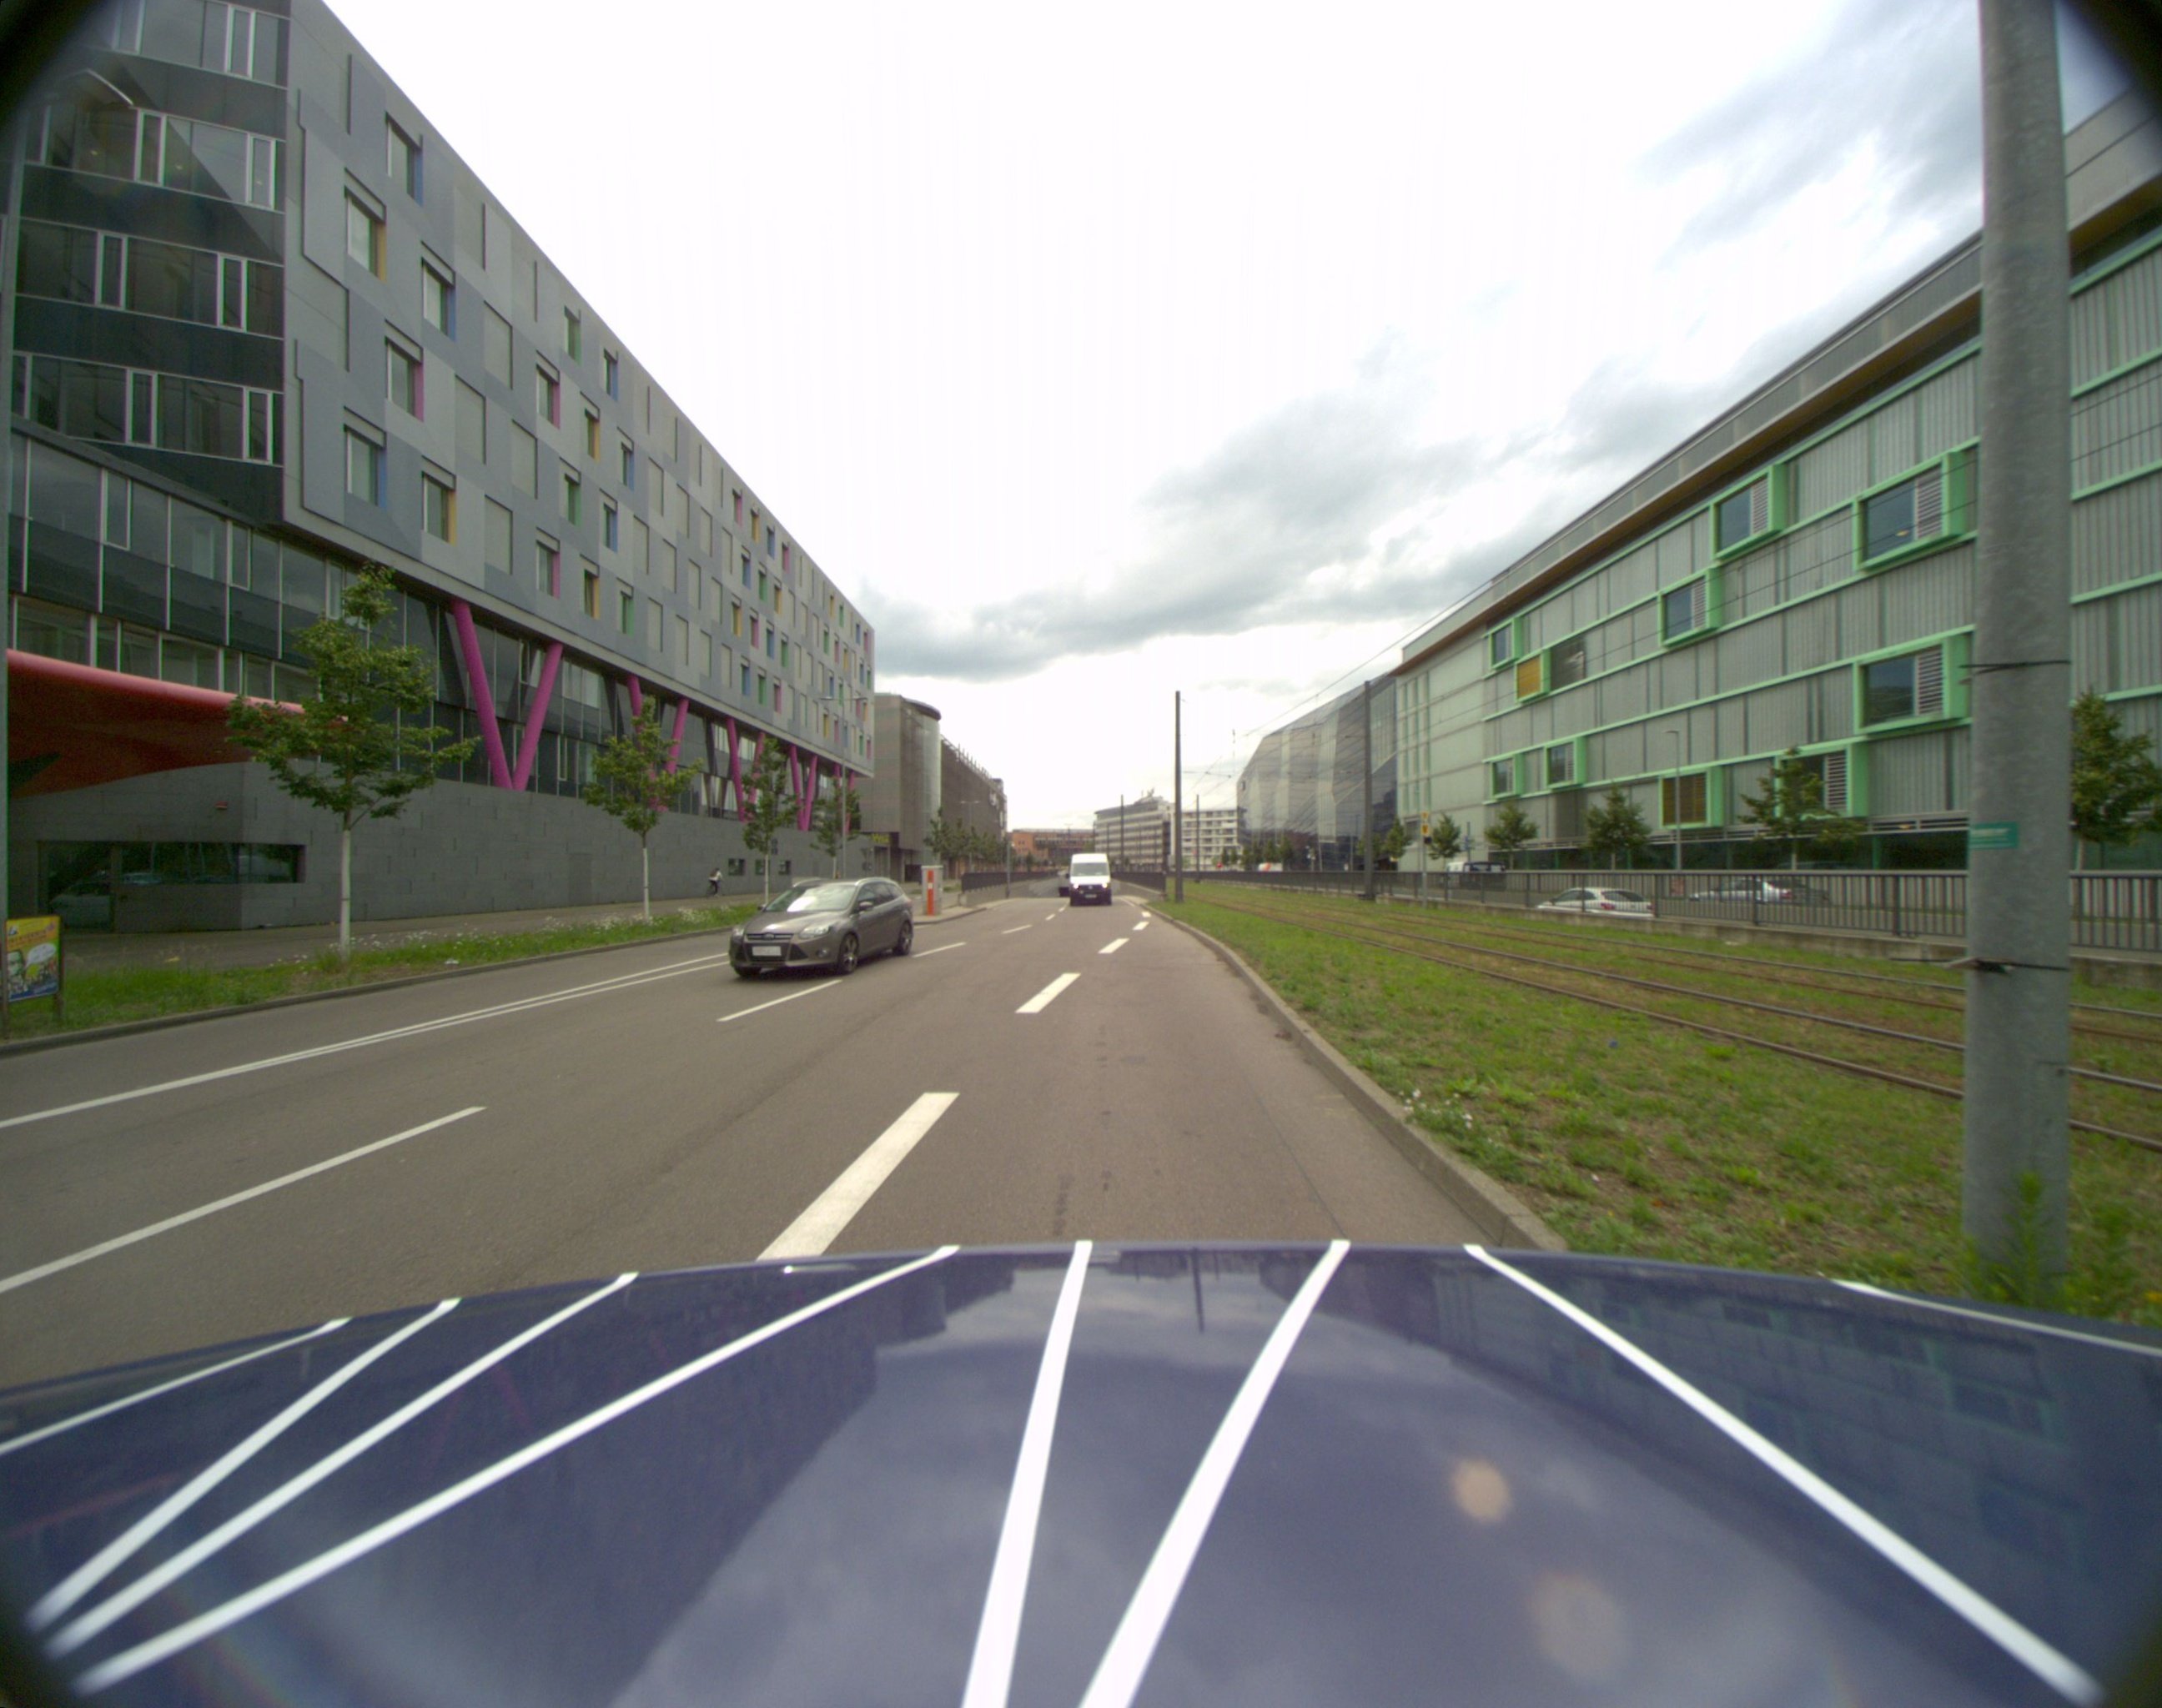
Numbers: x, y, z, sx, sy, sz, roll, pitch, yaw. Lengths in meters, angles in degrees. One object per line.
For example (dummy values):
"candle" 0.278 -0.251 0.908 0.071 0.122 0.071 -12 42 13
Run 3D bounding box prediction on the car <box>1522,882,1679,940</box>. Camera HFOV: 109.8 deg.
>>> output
"car" 16.230 1.724 24.068 1.998 1.576 4.379 0 -1 0

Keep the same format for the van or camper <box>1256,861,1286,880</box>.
"van or camper" 24.133 2.048 96.767 2.178 2.272 6.508 -1 -1 1

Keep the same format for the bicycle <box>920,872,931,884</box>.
"bicycle" -17.449 2.706 85.426 0.801 1.150 2.347 -1 -5 0

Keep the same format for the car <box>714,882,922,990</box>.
"car" -4.230 1.263 13.021 1.751 1.490 4.271 -1 -2 5

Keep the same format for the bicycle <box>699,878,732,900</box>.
"bicycle" -20.874 1.990 43.446 0.785 1.187 2.221 0 -1 -1

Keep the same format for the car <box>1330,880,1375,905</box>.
"car" 23.805 3.453 66.909 1.999 2.000 4.975 -1 -5 -2

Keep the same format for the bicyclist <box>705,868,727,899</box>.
"bicyclist" -20.889 1.667 43.529 0.772 1.776 0.974 0 -1 0

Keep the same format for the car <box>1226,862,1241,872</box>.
"car" 27.308 2.389 136.340 1.998 1.582 4.770 -1 -3 3

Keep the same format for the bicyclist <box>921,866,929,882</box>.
"bicyclist" -17.463 2.262 84.950 0.784 1.790 0.705 -1 -4 0

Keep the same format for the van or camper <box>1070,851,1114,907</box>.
"van or camper" 0.511 1.252 38.027 2.043 2.571 5.042 -1 -2 0

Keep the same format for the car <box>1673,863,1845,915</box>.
"car" 23.761 1.160 26.912 1.998 1.656 4.648 0 -1 1

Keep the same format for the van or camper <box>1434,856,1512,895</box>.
"van or camper" 24.427 1.330 47.602 2.178 2.273 5.360 0 -1 1
